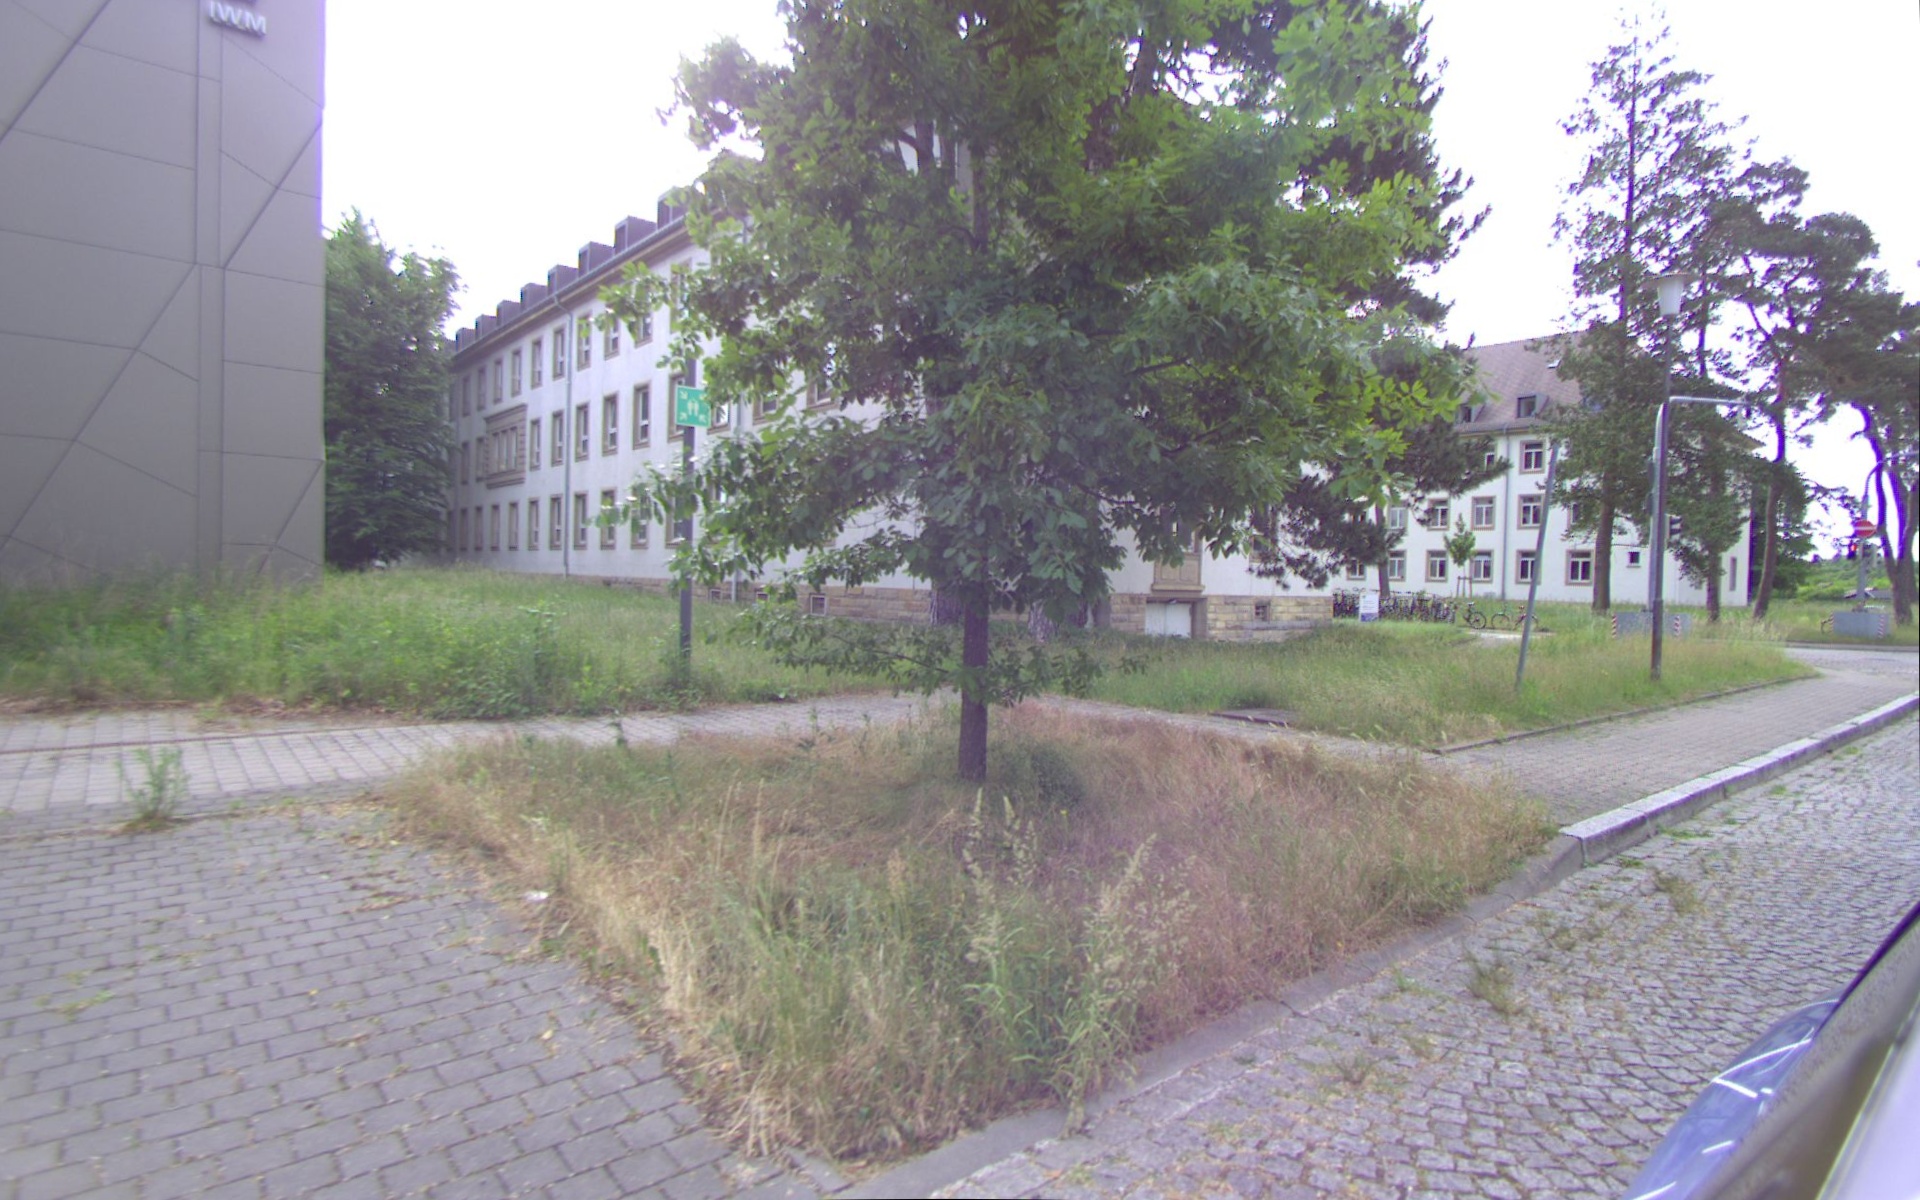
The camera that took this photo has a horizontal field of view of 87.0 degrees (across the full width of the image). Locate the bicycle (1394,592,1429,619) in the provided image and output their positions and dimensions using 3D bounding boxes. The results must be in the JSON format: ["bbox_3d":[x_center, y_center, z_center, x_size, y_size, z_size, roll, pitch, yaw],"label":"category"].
[{"bbox_3d":[19.012,0.236,42.612,1.697,1.142,0.448,1,1,-32],"label":"bicycle"}]

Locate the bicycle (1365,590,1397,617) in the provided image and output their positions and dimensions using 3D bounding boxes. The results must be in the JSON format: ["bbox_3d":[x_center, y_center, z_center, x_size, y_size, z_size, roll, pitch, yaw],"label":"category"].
[{"bbox_3d":[18.150,0.163,43.639,1.699,1.142,0.448,0,1,-37],"label":"bicycle"}]

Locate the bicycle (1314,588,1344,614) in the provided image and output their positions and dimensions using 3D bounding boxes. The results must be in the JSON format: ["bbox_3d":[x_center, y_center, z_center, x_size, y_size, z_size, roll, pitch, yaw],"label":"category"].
[{"bbox_3d":[16.646,0.043,45.639,1.699,1.142,0.448,0,1,-38],"label":"bicycle"}]

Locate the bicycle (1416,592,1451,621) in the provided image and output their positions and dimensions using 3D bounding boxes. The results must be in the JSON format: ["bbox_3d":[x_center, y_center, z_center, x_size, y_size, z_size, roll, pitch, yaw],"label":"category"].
[{"bbox_3d":[19.567,0.266,41.811,1.669,1.142,0.477,1,1,-32],"label":"bicycle"}]

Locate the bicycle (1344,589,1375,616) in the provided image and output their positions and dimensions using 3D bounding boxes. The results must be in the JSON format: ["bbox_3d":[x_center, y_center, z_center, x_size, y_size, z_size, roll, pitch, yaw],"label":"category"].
[{"bbox_3d":[17.553,0.112,44.433,1.699,1.142,0.448,0,1,-38],"label":"bicycle"}]

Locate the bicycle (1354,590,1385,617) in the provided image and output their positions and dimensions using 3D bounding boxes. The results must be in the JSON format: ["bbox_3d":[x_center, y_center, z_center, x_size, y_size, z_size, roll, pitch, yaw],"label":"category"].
[{"bbox_3d":[17.840,0.135,44.044,1.699,1.142,0.448,0,1,-38],"label":"bicycle"}]

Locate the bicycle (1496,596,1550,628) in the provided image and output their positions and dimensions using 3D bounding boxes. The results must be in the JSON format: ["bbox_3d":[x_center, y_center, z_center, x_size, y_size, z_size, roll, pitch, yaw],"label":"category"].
[{"bbox_3d":[21.126,0.437,38.015,0.604,1.099,1.653,1,1,-43],"label":"bicycle"}]

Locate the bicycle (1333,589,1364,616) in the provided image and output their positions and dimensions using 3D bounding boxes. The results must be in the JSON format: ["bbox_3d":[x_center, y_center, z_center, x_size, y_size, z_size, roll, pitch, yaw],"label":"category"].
[{"bbox_3d":[17.211,0.112,44.851,1.699,1.142,0.448,0,1,-38],"label":"bicycle"}]

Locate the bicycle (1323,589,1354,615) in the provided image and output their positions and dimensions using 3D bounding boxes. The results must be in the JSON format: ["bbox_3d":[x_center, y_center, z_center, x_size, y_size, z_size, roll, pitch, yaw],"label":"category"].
[{"bbox_3d":[16.929,0.084,45.249,1.699,1.142,0.448,0,1,-38],"label":"bicycle"}]

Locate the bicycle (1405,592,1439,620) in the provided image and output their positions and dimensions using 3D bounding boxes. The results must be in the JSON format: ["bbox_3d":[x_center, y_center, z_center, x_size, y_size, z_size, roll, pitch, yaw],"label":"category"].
[{"bbox_3d":[19.269,0.238,42.205,1.668,1.142,0.448,1,1,-32],"label":"bicycle"}]

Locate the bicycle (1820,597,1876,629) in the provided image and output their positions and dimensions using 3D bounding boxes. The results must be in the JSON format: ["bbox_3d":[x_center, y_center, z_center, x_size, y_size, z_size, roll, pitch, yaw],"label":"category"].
[{"bbox_3d":[32.308,0.474,36.821,1.623,1.099,0.616,1,1,-8],"label":"bicycle"}]

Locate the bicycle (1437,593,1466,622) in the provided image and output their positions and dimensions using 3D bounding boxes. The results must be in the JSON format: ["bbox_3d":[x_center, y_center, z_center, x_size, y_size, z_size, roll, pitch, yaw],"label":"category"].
[{"bbox_3d":[20.140,0.300,41.483,1.628,1.142,0.476,0,1,-42],"label":"bicycle"}]

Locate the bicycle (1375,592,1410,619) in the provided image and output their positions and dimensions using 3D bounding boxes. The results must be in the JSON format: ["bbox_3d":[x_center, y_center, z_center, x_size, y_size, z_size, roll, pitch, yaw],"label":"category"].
[{"bbox_3d":[18.468,0.236,43.189,1.697,1.142,0.448,1,1,-32],"label":"bicycle"}]

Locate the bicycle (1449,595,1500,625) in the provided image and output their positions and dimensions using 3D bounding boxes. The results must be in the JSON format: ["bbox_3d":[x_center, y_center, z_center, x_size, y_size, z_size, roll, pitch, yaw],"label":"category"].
[{"bbox_3d":[19.932,0.371,39.225,0.603,1.099,1.656,1,1,-38],"label":"bicycle"}]
